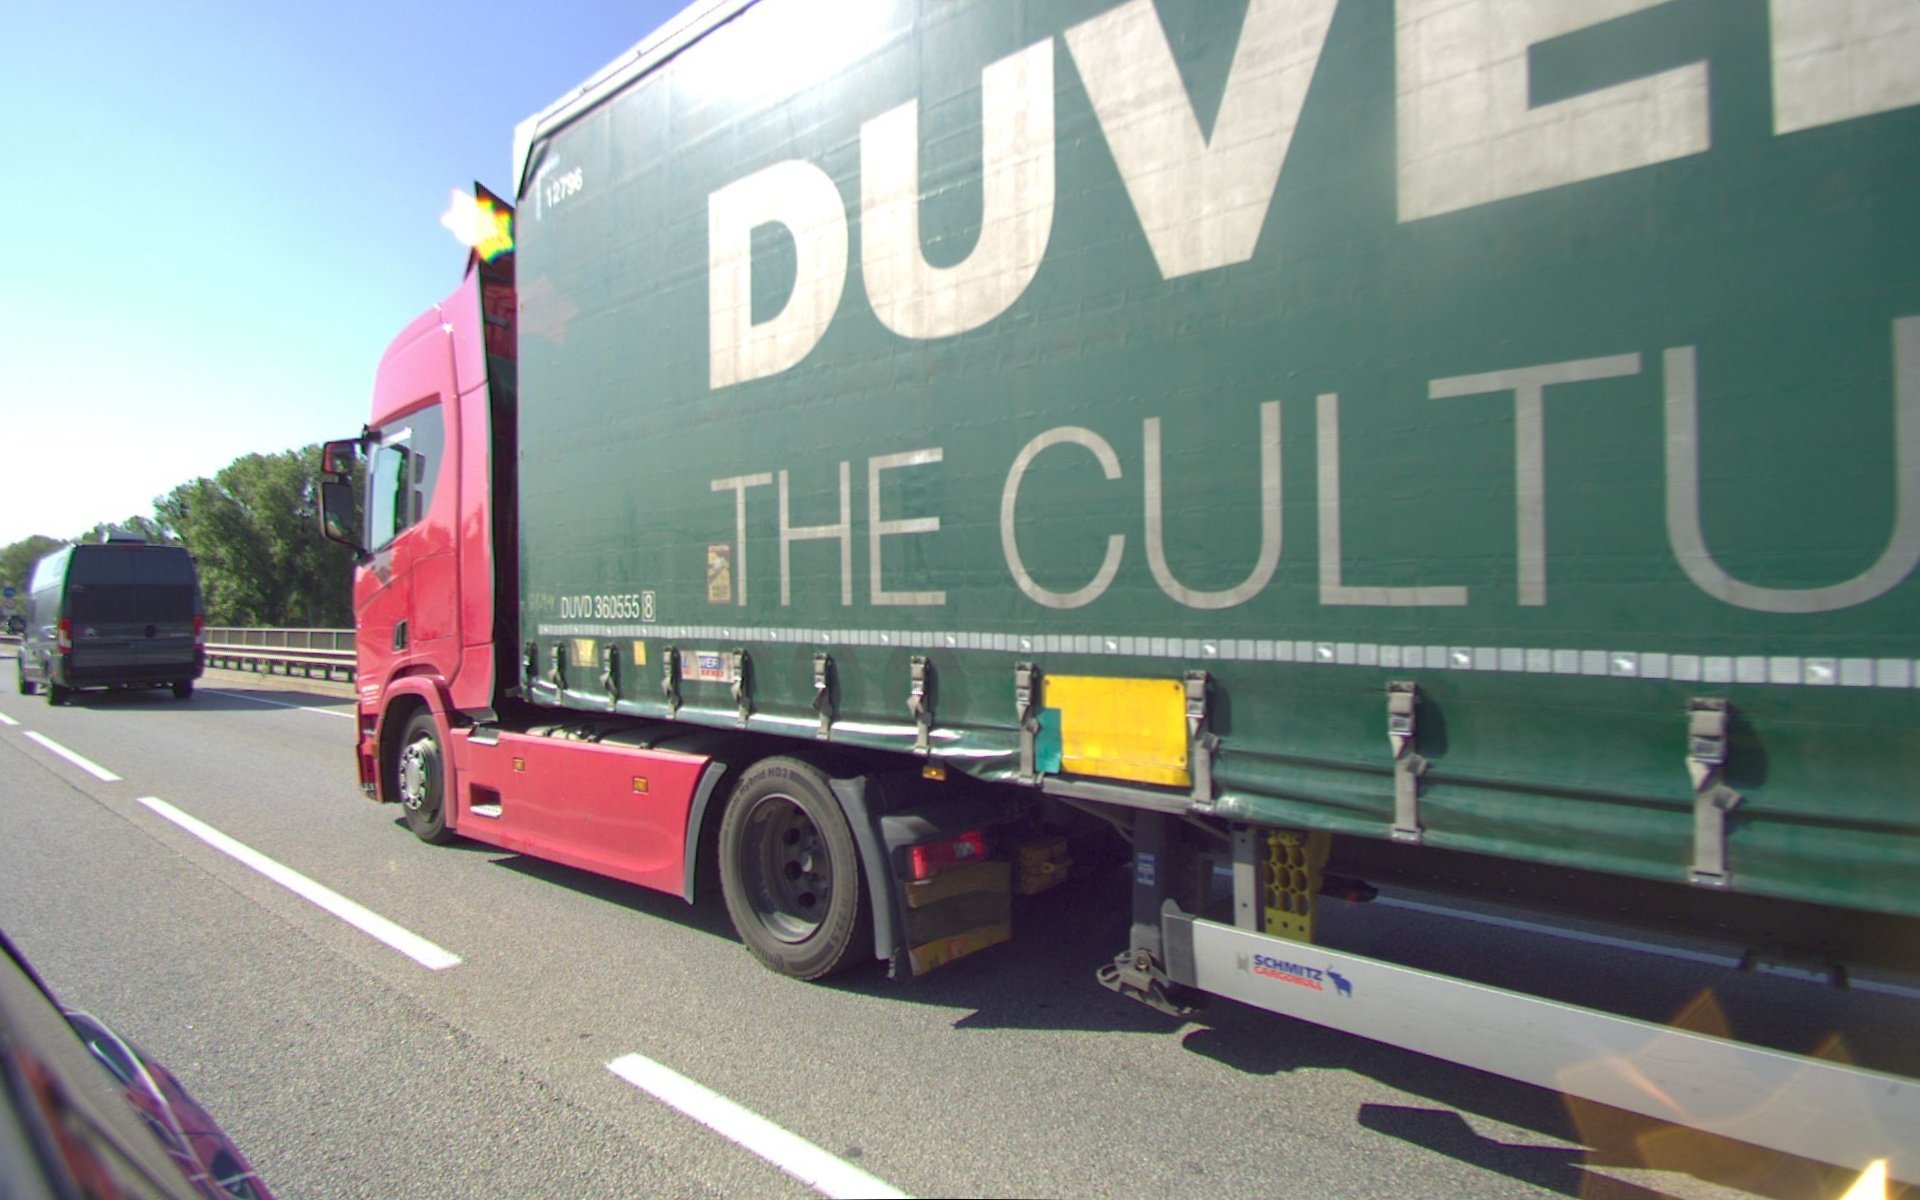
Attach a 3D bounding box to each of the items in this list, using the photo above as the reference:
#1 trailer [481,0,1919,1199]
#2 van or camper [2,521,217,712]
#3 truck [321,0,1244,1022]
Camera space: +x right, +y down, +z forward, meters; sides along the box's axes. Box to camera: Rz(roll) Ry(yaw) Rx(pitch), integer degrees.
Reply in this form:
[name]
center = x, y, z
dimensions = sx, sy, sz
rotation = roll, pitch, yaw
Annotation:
[trailer]
center = 3.739, -0.789, 1.837
dimensions = 14.294, 4.335, 2.877
rotation = -1, -1, 41
[van or camper]
center = -16.504, 0.326, 19.466
dimensions = 6.816, 3.074, 2.290
rotation = -1, -1, 42
[truck]
center = -1.510, -0.601, 6.493
dimensions = 5.710, 4.216, 2.878
rotation = -1, -1, 41
